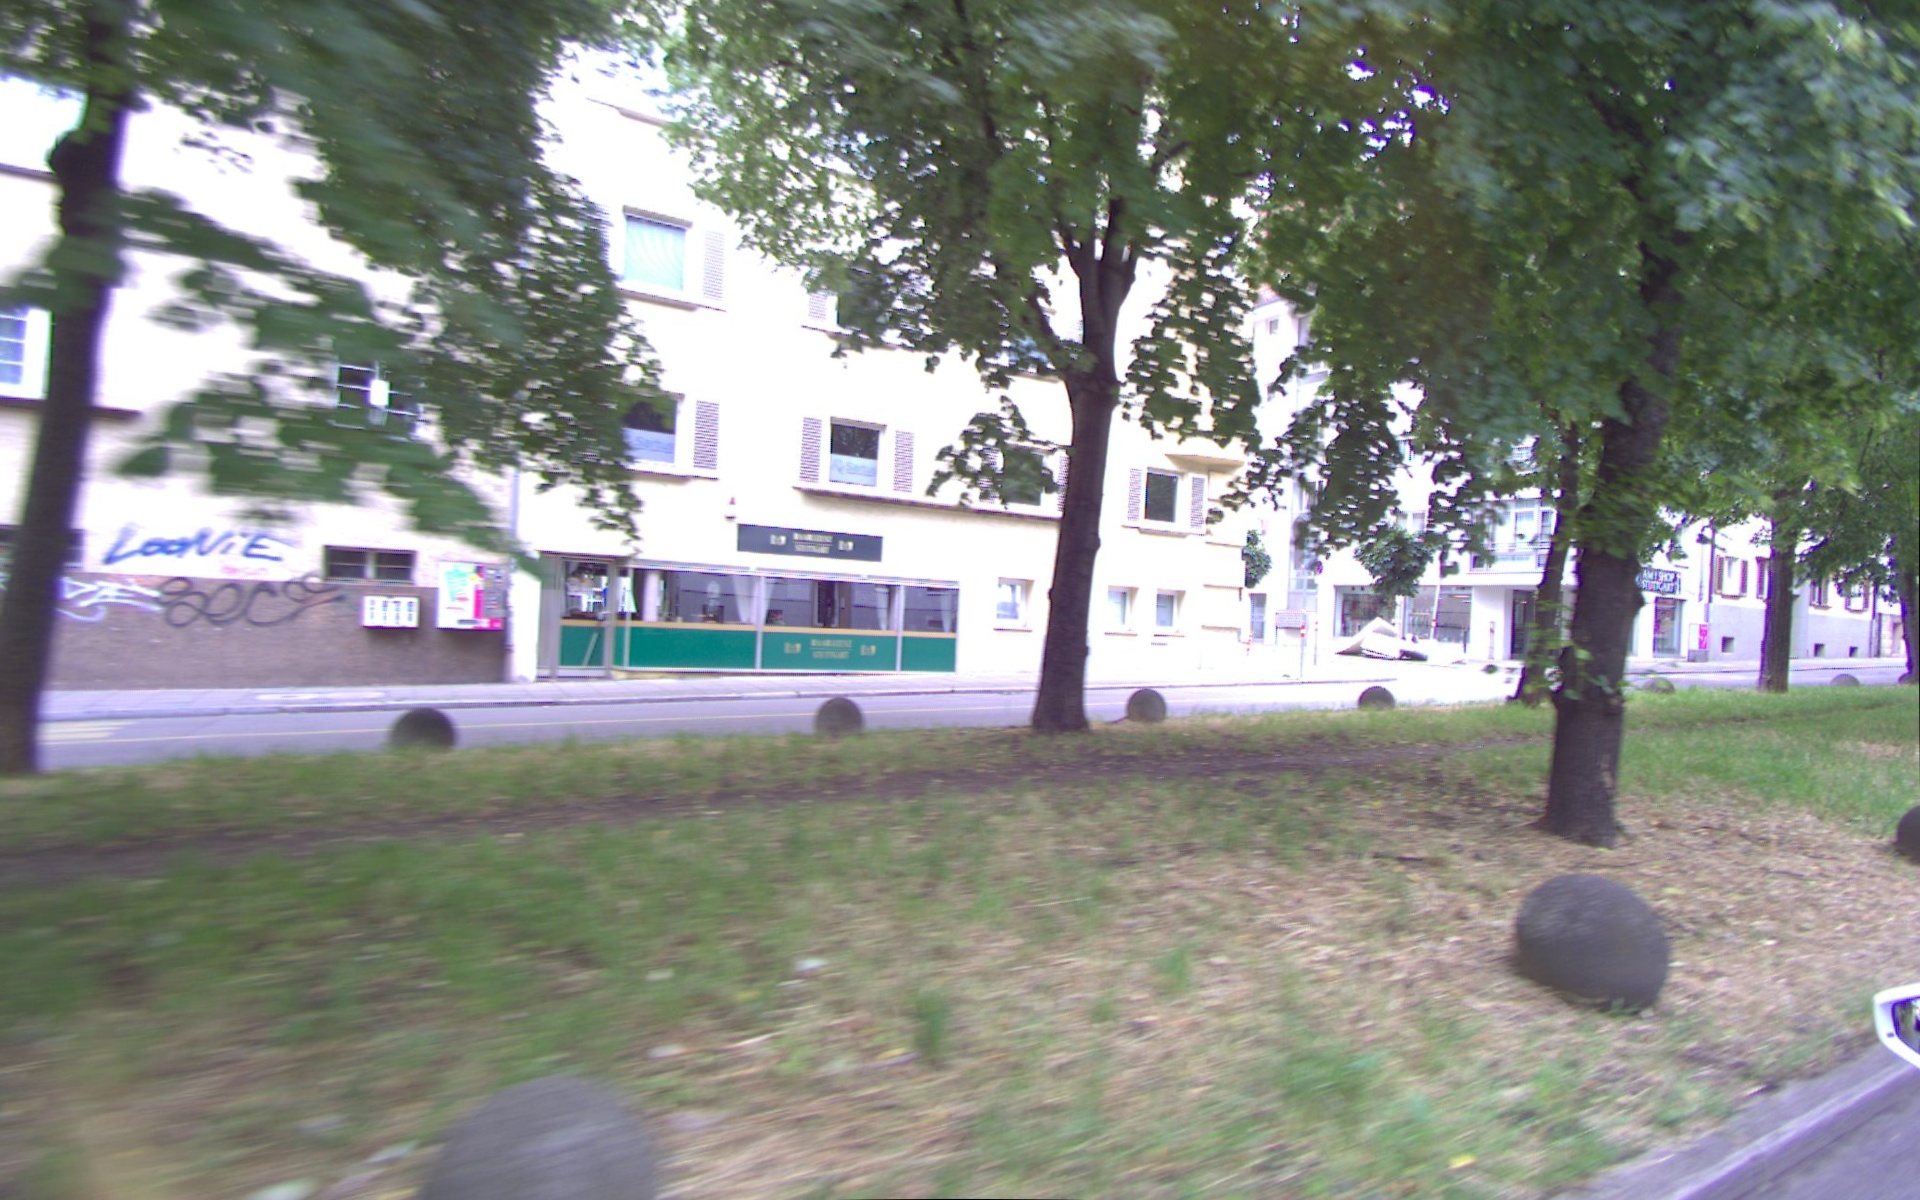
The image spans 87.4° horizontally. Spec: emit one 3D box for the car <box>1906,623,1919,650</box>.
[{"bbox_3d":[57.078,2.139,57.409,1.976,1.517,3.968,1,0,-30],"label":"car"}]
